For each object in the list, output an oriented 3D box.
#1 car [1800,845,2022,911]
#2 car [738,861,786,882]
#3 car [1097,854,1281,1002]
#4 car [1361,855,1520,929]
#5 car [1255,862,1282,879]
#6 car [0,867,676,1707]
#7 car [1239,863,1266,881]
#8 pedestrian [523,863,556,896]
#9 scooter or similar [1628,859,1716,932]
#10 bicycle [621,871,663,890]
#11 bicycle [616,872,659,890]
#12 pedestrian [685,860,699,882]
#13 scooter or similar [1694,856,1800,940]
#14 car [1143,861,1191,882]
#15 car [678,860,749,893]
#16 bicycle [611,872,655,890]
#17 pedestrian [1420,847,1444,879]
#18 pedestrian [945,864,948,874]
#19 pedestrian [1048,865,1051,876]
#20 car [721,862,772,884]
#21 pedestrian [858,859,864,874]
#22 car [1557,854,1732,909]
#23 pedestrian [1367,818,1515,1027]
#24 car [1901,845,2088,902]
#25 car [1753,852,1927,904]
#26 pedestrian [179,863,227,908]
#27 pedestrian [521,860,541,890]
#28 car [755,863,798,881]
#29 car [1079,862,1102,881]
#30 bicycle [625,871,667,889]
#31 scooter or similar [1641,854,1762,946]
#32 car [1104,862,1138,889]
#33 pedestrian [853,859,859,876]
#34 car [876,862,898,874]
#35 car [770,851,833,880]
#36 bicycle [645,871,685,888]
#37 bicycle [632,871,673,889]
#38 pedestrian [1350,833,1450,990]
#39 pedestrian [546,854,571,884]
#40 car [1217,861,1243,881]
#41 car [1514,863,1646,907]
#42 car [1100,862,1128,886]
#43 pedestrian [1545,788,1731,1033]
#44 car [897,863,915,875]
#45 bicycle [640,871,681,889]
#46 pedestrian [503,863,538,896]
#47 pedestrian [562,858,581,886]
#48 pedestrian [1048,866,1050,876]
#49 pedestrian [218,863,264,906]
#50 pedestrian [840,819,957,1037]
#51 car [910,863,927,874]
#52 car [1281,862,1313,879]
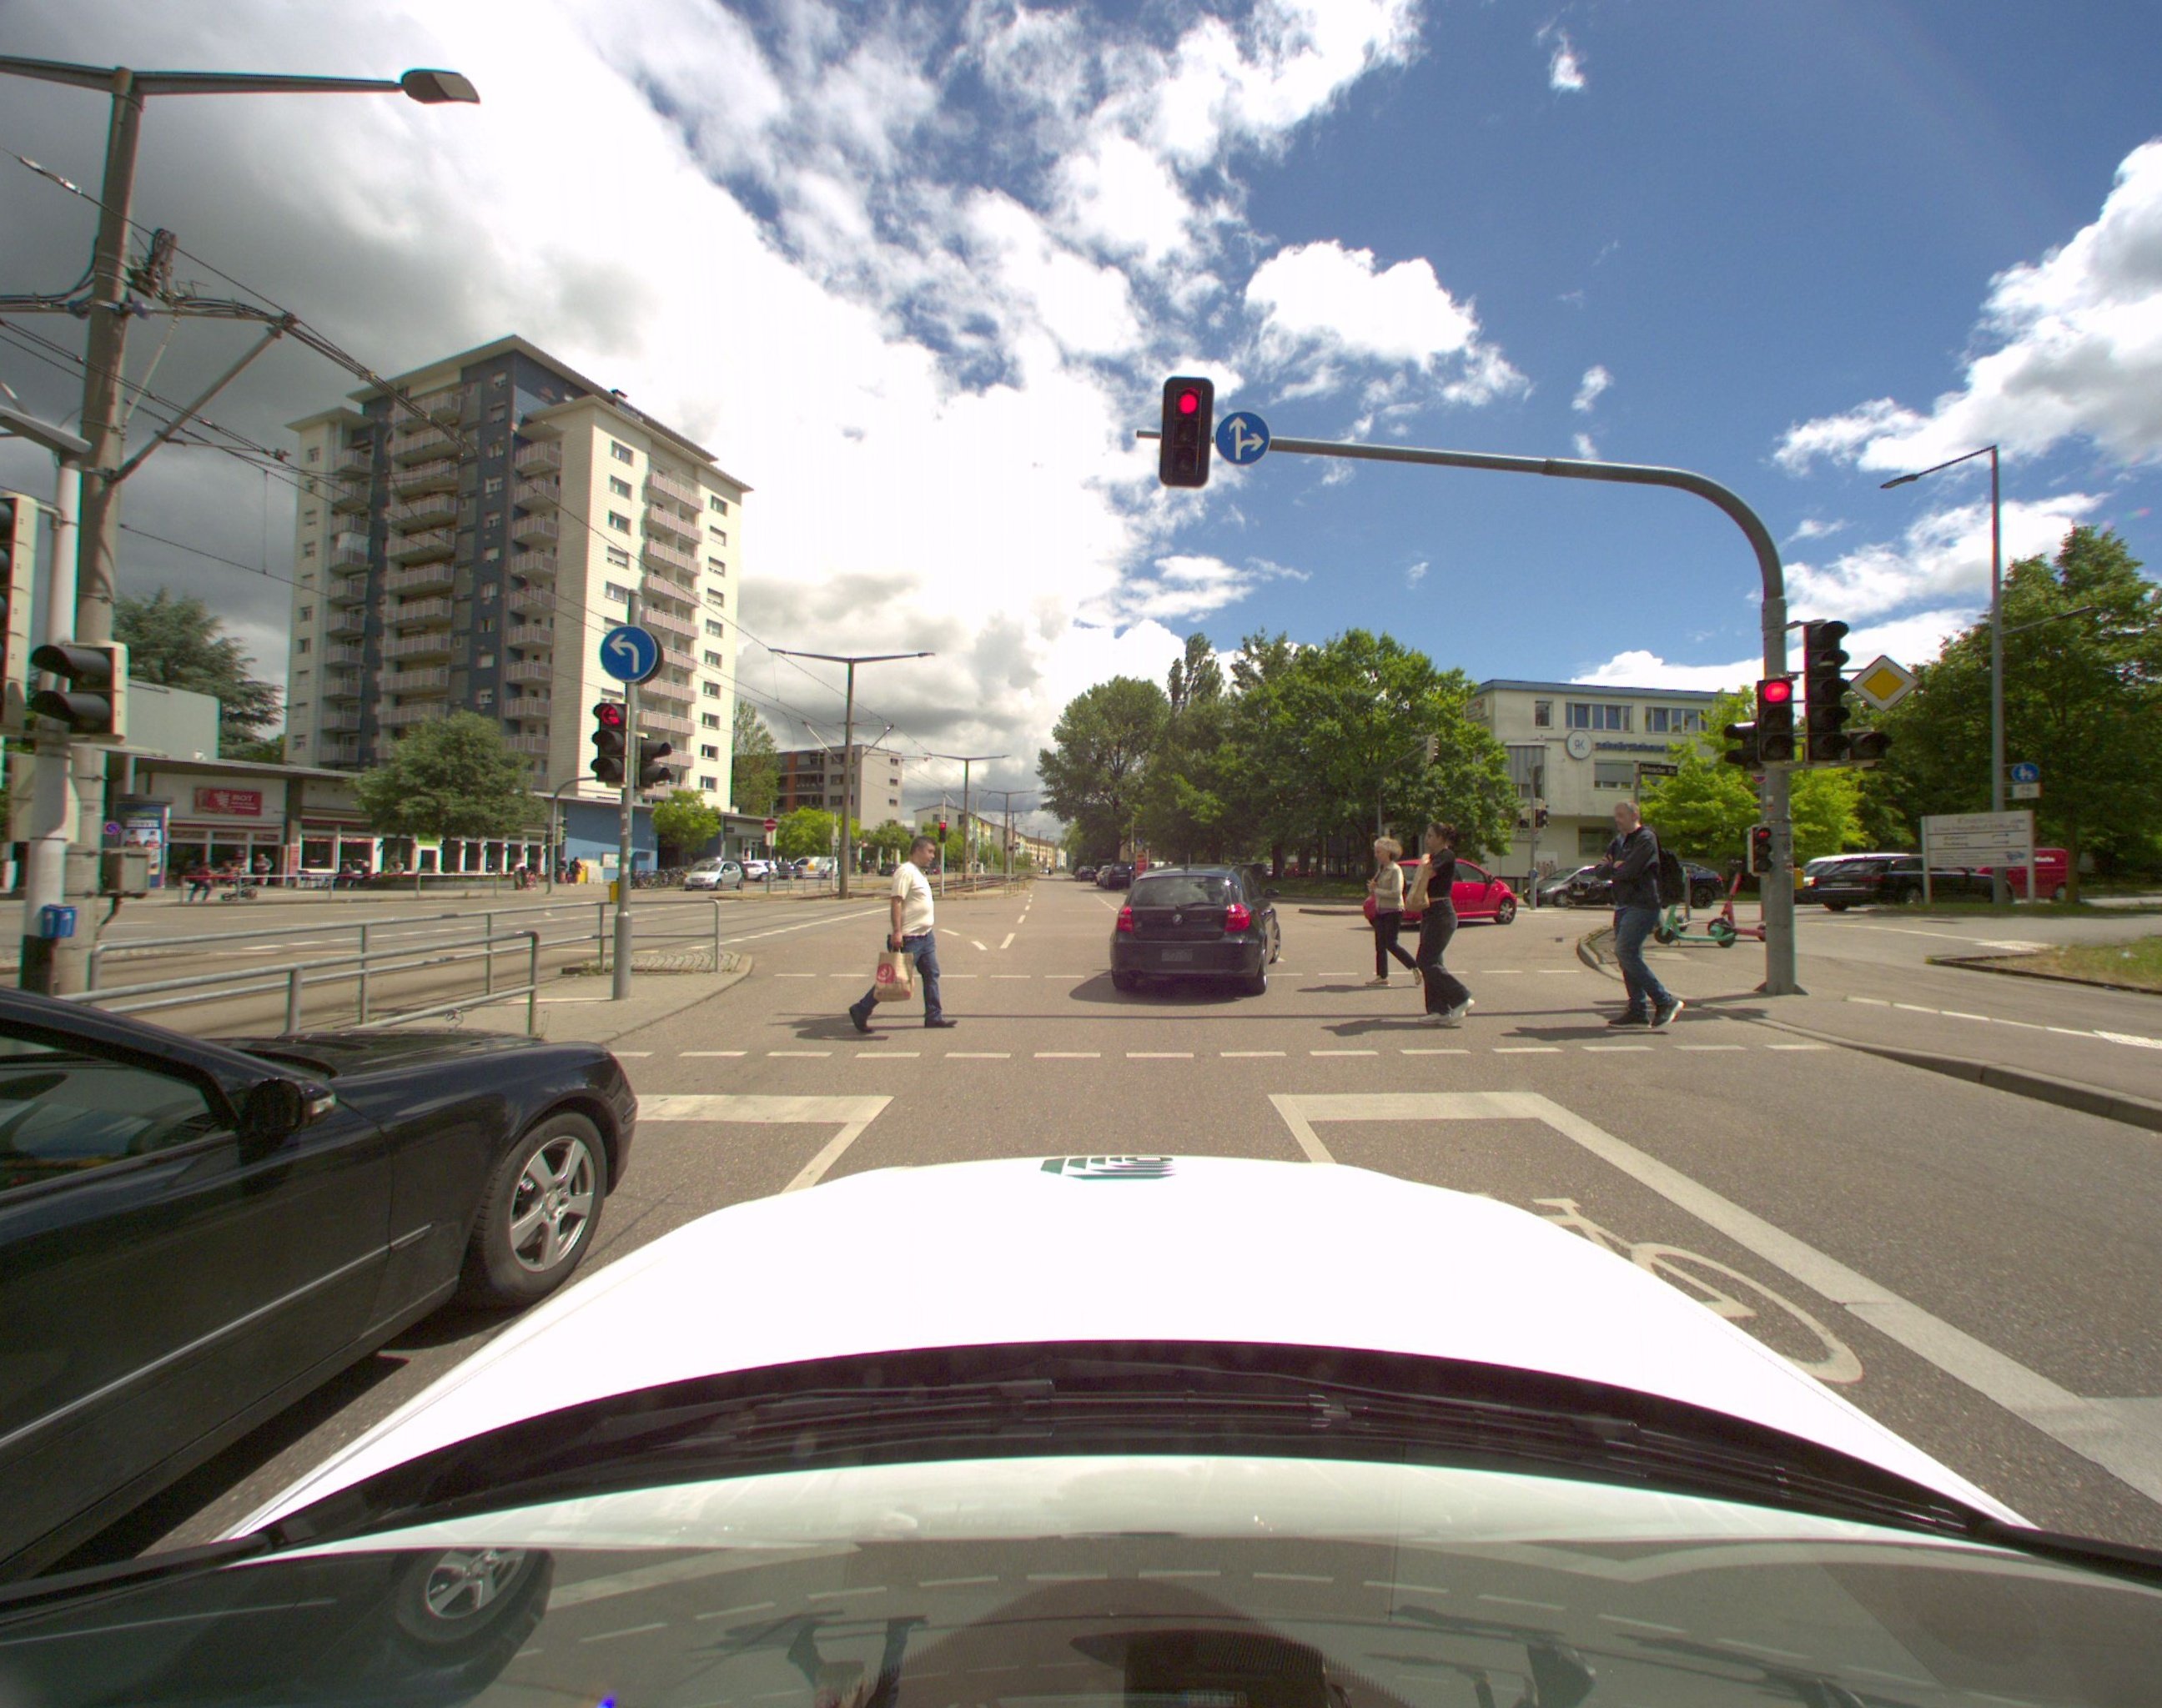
[{"bbox_3d":[21.452,0.587,21.106,4.511,1.554,1.991,0,-1,-13],"label":"car"},{"bbox_3d":[-24.825,1.354,63.232,4.165,1.538,1.973,-1,-1,45],"label":"car"},{"bbox_3d":[1.563,0.748,10.339,1.739,1.487,4.017,0,0,16],"label":"car"},{"bbox_3d":[7.685,0.736,17.391,3.206,1.441,1.532,0,0,-31],"label":"car"},{"bbox_3d":[17.817,1.548,77.591,1.626,1.595,3.998,0,0,-1],"label":"car"},{"bbox_3d":[-2.755,0.782,1.389,1.721,1.461,4.546,0,0,2],"label":"car"},{"bbox_3d":[16.029,1.668,76.243,1.626,1.573,4.030,0,0,-1],"label":"car"},{"bbox_3d":[-28.357,1.320,42.660,0.939,1.659,1.102,-1,-1,9],"label":"pedestrian"},{"bbox_3d":[9.810,0.674,13.519,1.360,1.156,0.540,1,0,-23],"label":"scooter or similar"},{"bbox_3d":[-23.448,1.412,43.519,1.943,0.935,0.494,0,-1,-5],"label":"bicycle"},{"bbox_3d":[-23.401,1.407,43.015,1.943,0.935,0.494,0,-1,-5],"label":"bicycle"},{"bbox_3d":[-28.274,1.241,59.181,0.768,1.615,0.695,0,-1,-14],"label":"pedestrian"},{"bbox_3d":[10.295,0.664,12.606,1.225,1.240,0.555,2,0,-7],"label":"scooter or similar"},{"bbox_3d":[7.871,1.560,74.495,4.001,1.823,1.766,0,-1,-21],"label":"car"},{"bbox_3d":[-19.726,1.153,43.892,1.930,1.693,3.874,0,0,2],"label":"car"},{"bbox_3d":[-23.379,1.403,42.532,1.943,0.935,0.494,0,-1,-5],"label":"bicycle"},{"bbox_3d":[18.370,0.480,42.589,0.769,1.643,0.903,0,-1,-14],"label":"pedestrian"},{"bbox_3d":[-21.666,2.382,131.325,0.451,1.637,0.480,0,-1,-1],"label":"pedestrian"},{"bbox_3d":[-5.120,2.666,131.886,0.477,1.637,0.454,0,-1,1],"label":"pedestrian"},{"bbox_3d":[-24.626,1.361,59.916,4.165,1.570,1.973,-1,-1,45],"label":"car"},{"bbox_3d":[-24.916,1.433,92.303,0.547,1.716,0.404,0,-1,-8],"label":"pedestrian"},{"bbox_3d":[18.500,0.858,26.845,4.551,1.717,1.996,0,0,-5],"label":"car"},{"bbox_3d":[3.224,0.576,7.351,0.933,1.765,0.769,-1,0,-10],"label":"pedestrian"},{"bbox_3d":[31.898,0.681,28.510,4.800,1.864,1.994,0,-2,-8],"label":"car"},{"bbox_3d":[26.114,0.798,28.098,4.555,1.717,1.995,0,0,-8],"label":"car"},{"bbox_3d":[-33.141,1.174,30.728,0.957,1.659,1.002,-1,-1,27],"label":"pedestrian"},{"bbox_3d":[-30.366,1.161,44.958,0.770,1.615,0.693,0,-1,-23],"label":"pedestrian"},{"bbox_3d":[-24.808,1.433,66.294,1.800,1.420,4.166,0,-1,-43],"label":"car"},{"bbox_3d":[0.917,1.622,75.908,1.986,1.684,4.002,0,0,2],"label":"car"},{"bbox_3d":[-23.487,1.417,43.994,1.943,0.935,0.494,0,-1,-5],"label":"bicycle"},{"bbox_3d":[8.907,0.648,11.727,1.336,1.277,0.463,0,0,8],"label":"scooter or similar"},{"bbox_3d":[2.577,1.396,53.090,2.144,1.684,4.001,0,-1,2],"label":"car"},{"bbox_3d":[-23.739,1.430,86.058,0.547,1.716,0.667,0,-1,-8],"label":"pedestrian"},{"bbox_3d":[-22.099,1.577,92.830,1.758,1.395,3.993,0,0,-5],"label":"car"},{"bbox_3d":[-24.584,0.992,71.434,2.848,2.478,6.642,0,-1,-42],"label":"car"},{"bbox_3d":[-23.301,1.431,45.580,1.943,0.935,0.494,0,-1,-5],"label":"bicycle"},{"bbox_3d":[-23.443,1.422,44.543,1.943,0.935,0.494,0,-1,-5],"label":"bicycle"},{"bbox_3d":[3.588,0.625,9.252,0.945,1.674,0.874,-1,-1,16],"label":"pedestrian"},{"bbox_3d":[-34.126,0.951,53.194,0.863,1.917,1.213,0,0,-4],"label":"pedestrian"},{"bbox_3d":[13.749,1.539,75.501,1.626,1.811,4.030,0,0,-1],"label":"car"},{"bbox_3d":[18.836,1.131,30.824,3.906,1.555,1.994,0,0,-9],"label":"car"},{"bbox_3d":[2.424,1.495,60.545,1.986,1.684,4.001,0,-1,2],"label":"car"},{"bbox_3d":[4.690,0.446,6.927,0.963,1.942,0.896,0,0,-3],"label":"pedestrian"},{"bbox_3d":[-21.547,1.799,100.409,1.758,1.395,3.993,0,0,-5],"label":"car"},{"bbox_3d":[-23.271,1.426,45.101,1.943,0.935,0.494,0,-1,-5],"label":"bicycle"},{"bbox_3d":[-28.517,1.281,41.437,0.939,1.659,1.102,-1,-1,9],"label":"pedestrian"},{"bbox_3d":[-29.651,1.060,47.393,0.767,1.615,0.695,0,-1,-12],"label":"pedestrian"},{"bbox_3d":[-5.162,2.744,131.997,0.334,1.627,0.356,0,-1,-16],"label":"pedestrian"},{"bbox_3d":[-32.663,1.179,31.690,0.957,1.659,1.002,-1,-1,27],"label":"pedestrian"},{"bbox_3d":[-1.573,0.616,7.148,0.866,1.808,0.741,0,0,-2],"label":"pedestrian"},{"bbox_3d":[-21.330,1.911,107.000,1.758,1.395,3.993,0,0,-5],"label":"car"},{"bbox_3d":[20.630,1.567,77.867,1.728,1.595,3.992,0,0,-5],"label":"car"}]
